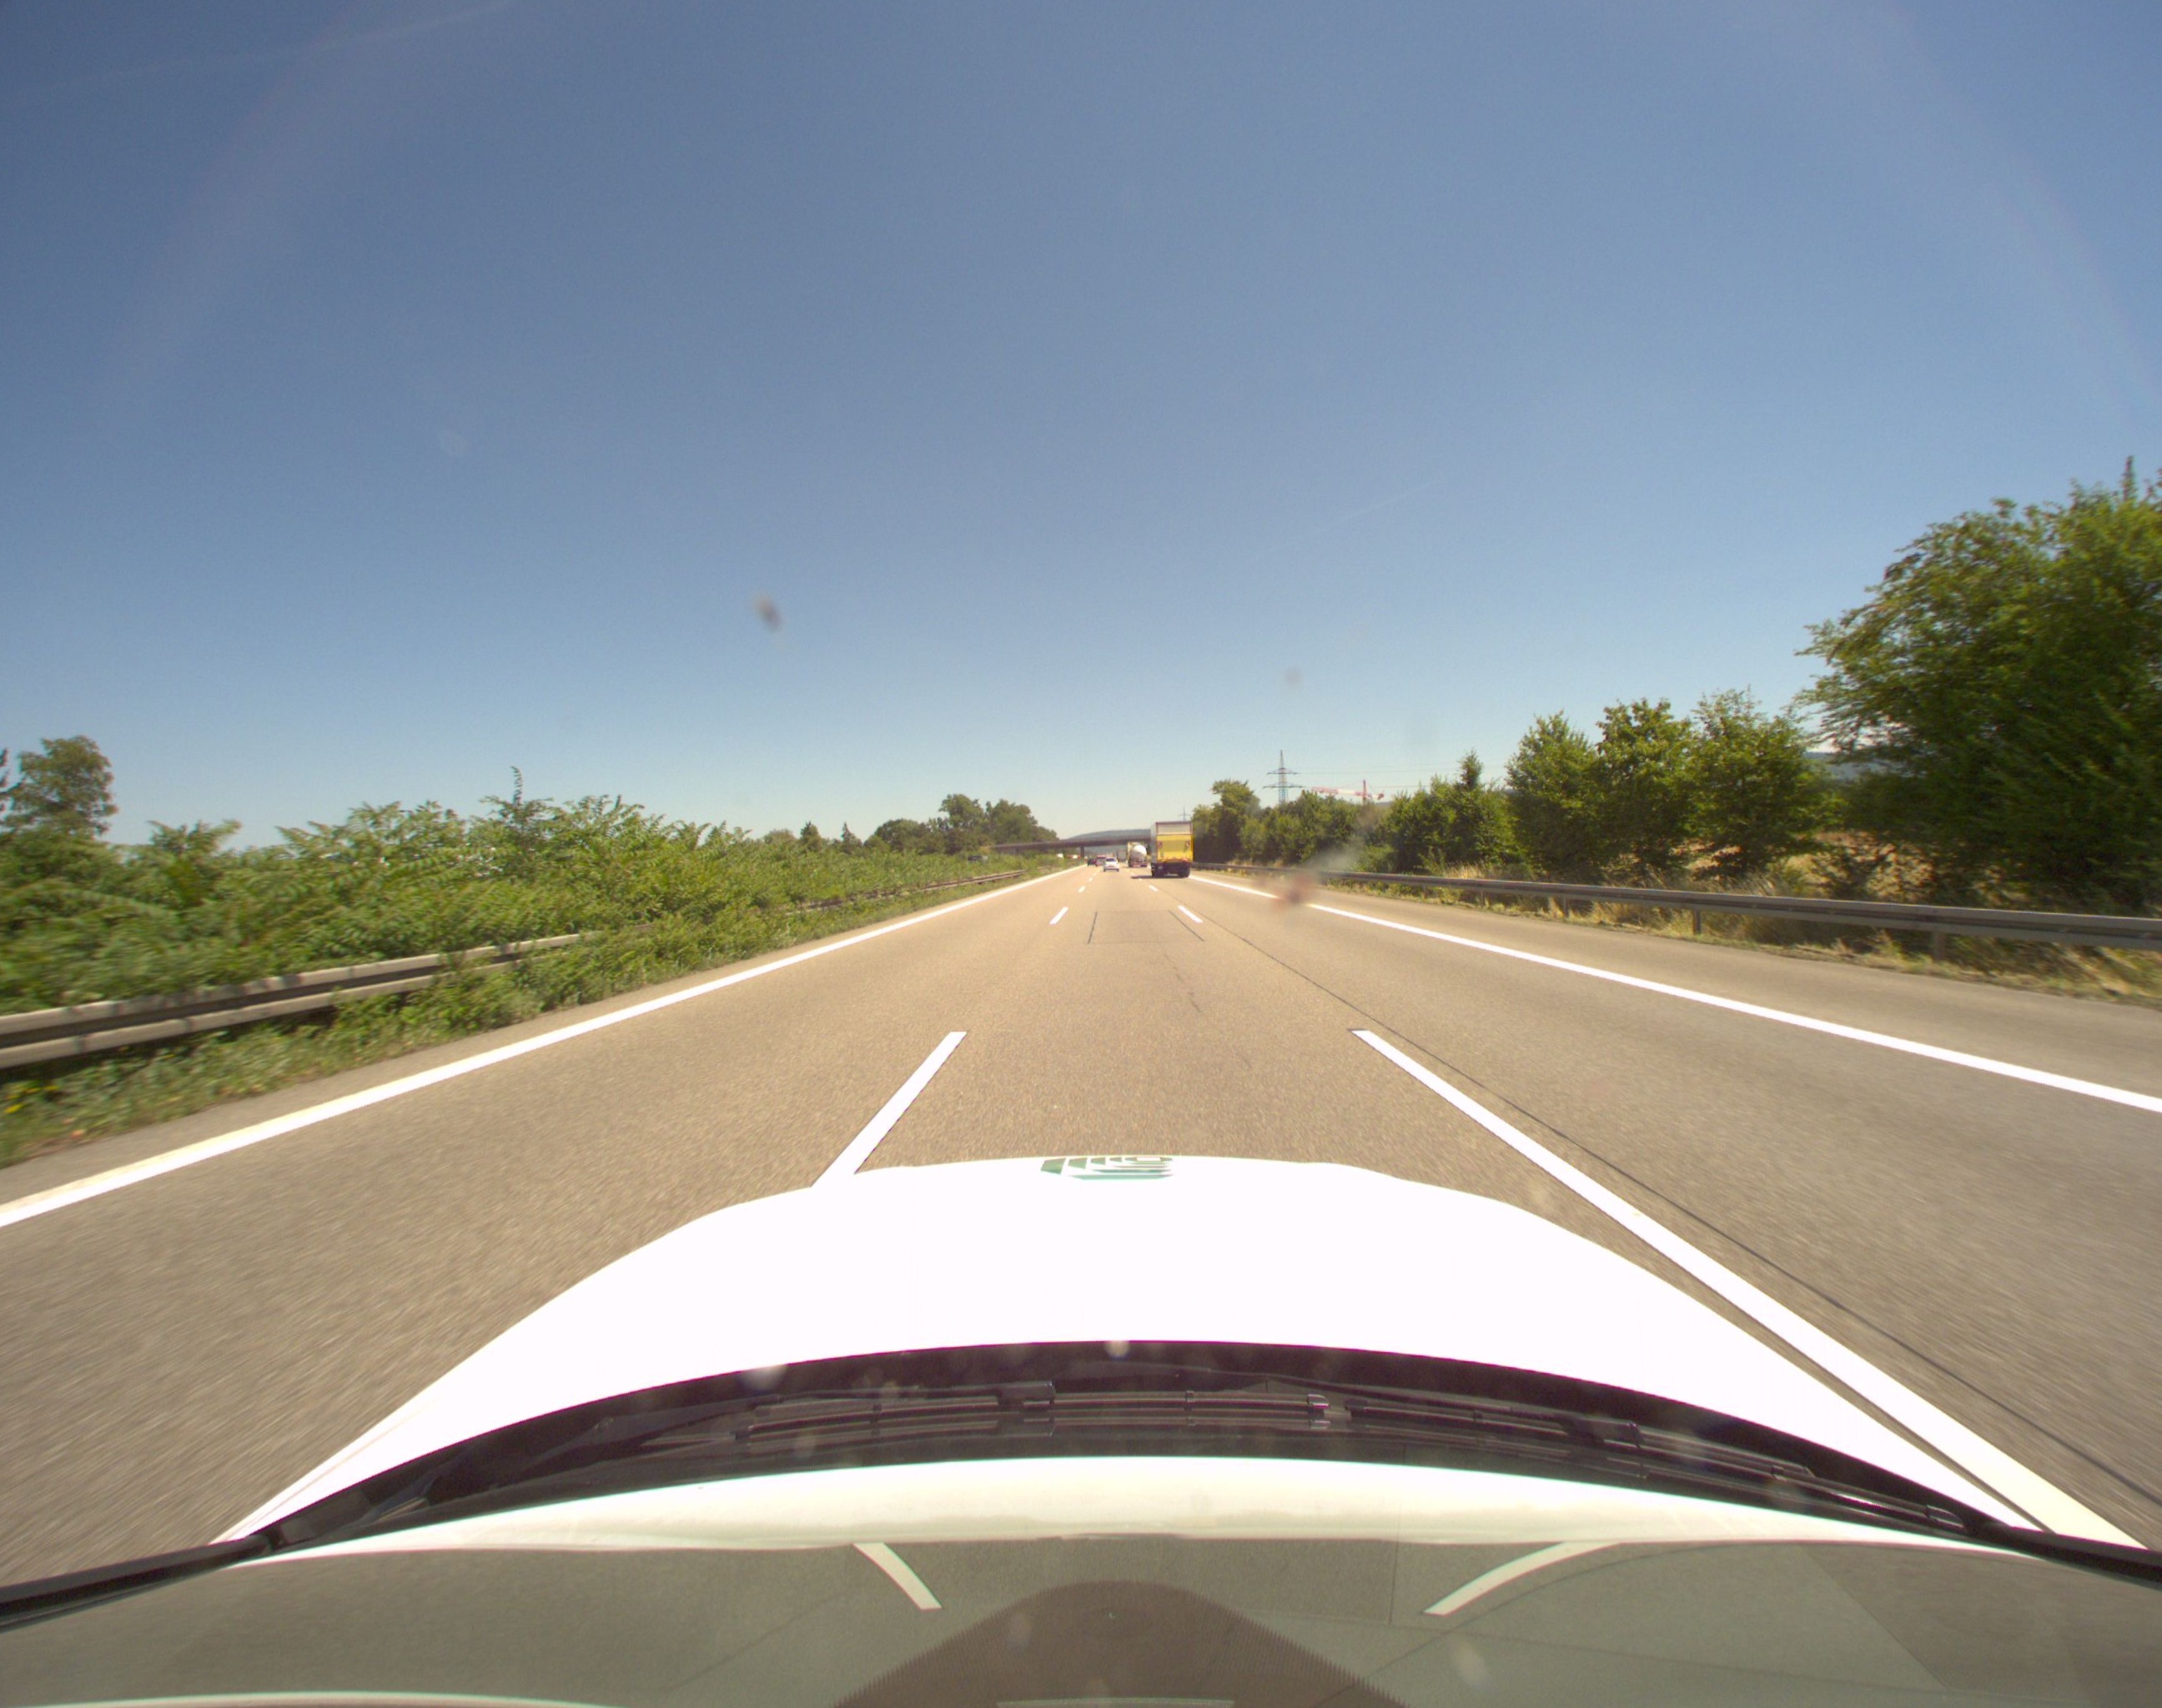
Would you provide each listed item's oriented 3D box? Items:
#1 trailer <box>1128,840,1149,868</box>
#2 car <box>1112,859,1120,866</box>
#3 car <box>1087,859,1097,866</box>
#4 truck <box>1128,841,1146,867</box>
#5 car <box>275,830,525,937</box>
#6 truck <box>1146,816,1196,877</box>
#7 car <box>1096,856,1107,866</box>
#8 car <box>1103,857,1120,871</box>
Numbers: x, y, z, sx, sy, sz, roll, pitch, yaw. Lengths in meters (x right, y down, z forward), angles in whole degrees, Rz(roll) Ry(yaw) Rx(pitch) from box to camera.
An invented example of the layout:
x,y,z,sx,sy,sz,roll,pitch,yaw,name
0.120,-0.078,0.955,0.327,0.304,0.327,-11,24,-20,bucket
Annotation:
x,y,z,sx,sy,sz,roll,pitch,yaw,name
8.617,0.003,122.875,2.570,4.074,11.106,0,0,2,trailer
7.669,1.845,179.073,1.828,1.386,4.002,0,0,2,car
2.198,1.599,159.521,1.828,1.386,4.002,0,0,2,car
8.743,0.023,127.517,2.563,4.072,6.394,0,0,1,truck
-19.300,0.770,23.596,2.461,2.708,5.521,0,0,2,car
6.666,-0.500,61.797,2.922,4.200,10.685,0,0,2,truck
3.567,1.174,139.957,1.844,1.633,4.002,0,0,2,car
3.343,1.069,89.409,1.799,1.468,4.002,0,0,2,car
